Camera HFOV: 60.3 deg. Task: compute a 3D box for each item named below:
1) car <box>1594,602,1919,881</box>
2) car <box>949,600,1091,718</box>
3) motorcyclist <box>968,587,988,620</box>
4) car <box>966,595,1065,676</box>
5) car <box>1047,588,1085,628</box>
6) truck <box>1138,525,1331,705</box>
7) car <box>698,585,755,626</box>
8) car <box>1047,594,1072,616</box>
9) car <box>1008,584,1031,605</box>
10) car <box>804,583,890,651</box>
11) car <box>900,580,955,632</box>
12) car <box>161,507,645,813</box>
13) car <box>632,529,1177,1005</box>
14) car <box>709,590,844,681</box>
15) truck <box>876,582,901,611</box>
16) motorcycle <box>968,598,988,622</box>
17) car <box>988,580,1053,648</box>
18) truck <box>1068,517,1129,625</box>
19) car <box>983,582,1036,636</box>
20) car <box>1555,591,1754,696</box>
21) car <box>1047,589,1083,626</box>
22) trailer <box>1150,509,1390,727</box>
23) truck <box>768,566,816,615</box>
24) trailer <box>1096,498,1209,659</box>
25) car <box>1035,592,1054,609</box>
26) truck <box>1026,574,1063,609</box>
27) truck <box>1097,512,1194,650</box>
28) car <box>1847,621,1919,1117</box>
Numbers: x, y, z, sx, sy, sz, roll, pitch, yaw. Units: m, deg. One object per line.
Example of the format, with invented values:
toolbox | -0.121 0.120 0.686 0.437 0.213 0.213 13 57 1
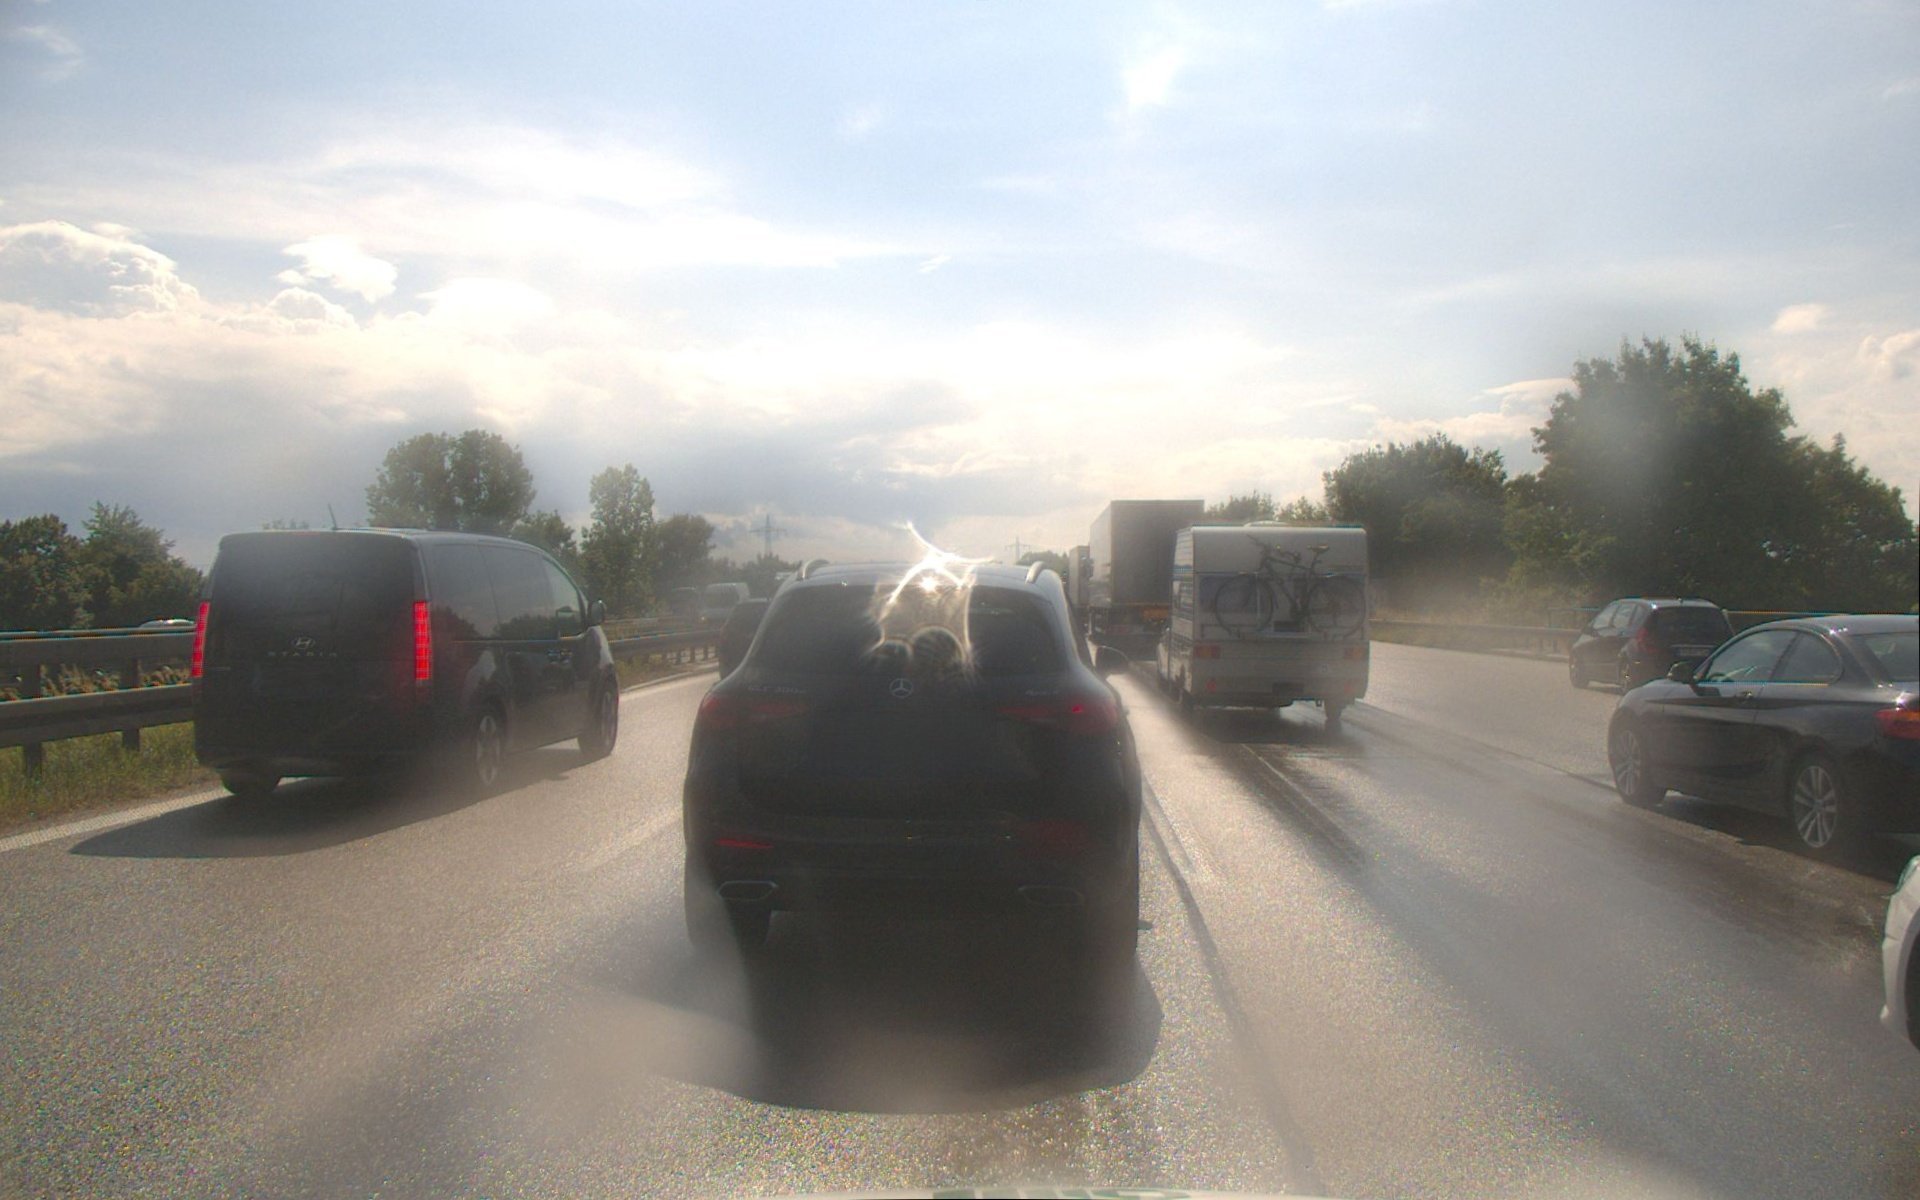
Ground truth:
car | 5.989 0.763 10.982 1.811 1.490 4.254 -1 0 -2
car | 0.851 0.708 21.907 1.720 1.411 3.947 0 0 4
motorcyclist | 0.966 0.193 89.667 1.042 1.748 0.785 0 0 1
car | 1.098 0.643 31.651 1.768 1.432 4.001 1 0 3
car | 5.672 0.408 88.422 1.952 2.049 4.002 2 0 3
truck | 4.191 0.216 26.253 2.324 2.520 5.758 1 0 3
car | -12.118 0.269 86.108 1.952 2.049 5.560 -1 0 2
car | 8.312 0.429 138.220 1.837 1.791 4.000 1 0 0
car | 5.145 -0.465 144.073 1.837 1.791 4.000 1 0 0
car | -3.027 0.439 45.009 1.952 1.750 4.001 1 0 1
car | -1.366 0.265 71.231 1.952 2.048 4.002 4 0 3
car | -4.261 0.396 13.772 1.952 2.049 5.272 0 0 4
car | -0.101 0.597 8.132 1.952 1.690 4.407 0 0 3
car | -3.240 0.594 30.025 1.720 1.543 4.211 0 0 4
truck | -10.556 -0.542 243.753 2.942 4.175 7.689 -2 0 2
motorcycle | 0.966 0.536 89.576 1.051 1.293 2.690 0 0 1
car | 2.051 0.459 54.999 1.952 2.048 4.002 4 0 3
truck | 6.600 -1.305 79.589 2.450 4.914 7.544 1 0 2
car | 1.993 0.352 65.368 1.952 2.049 4.002 0 0 3
car | 11.513 0.683 27.709 1.810 1.596 4.001 1 0 3
car | 6.277 0.440 98.900 1.952 2.048 4.002 4 0 3
trailer | 4.019 0.217 22.701 2.324 2.526 6.525 1 0 3
truck | -13.847 -0.722 136.947 2.802 3.888 7.880 0 -1 2
trailer | 5.475 -0.577 48.157 2.943 4.239 8.541 1 0 5
car | 9.167 0.037 179.918 1.837 1.791 4.000 1 0 0
truck | 10.266 -0.959 202.312 3.765 4.087 11.218 1 0 -1
truck | 5.935 -0.581 53.659 2.932 4.239 5.243 1 0 5
car | 3.827 0.768 2.998 1.790 1.450 4.507 0 -1 -4
